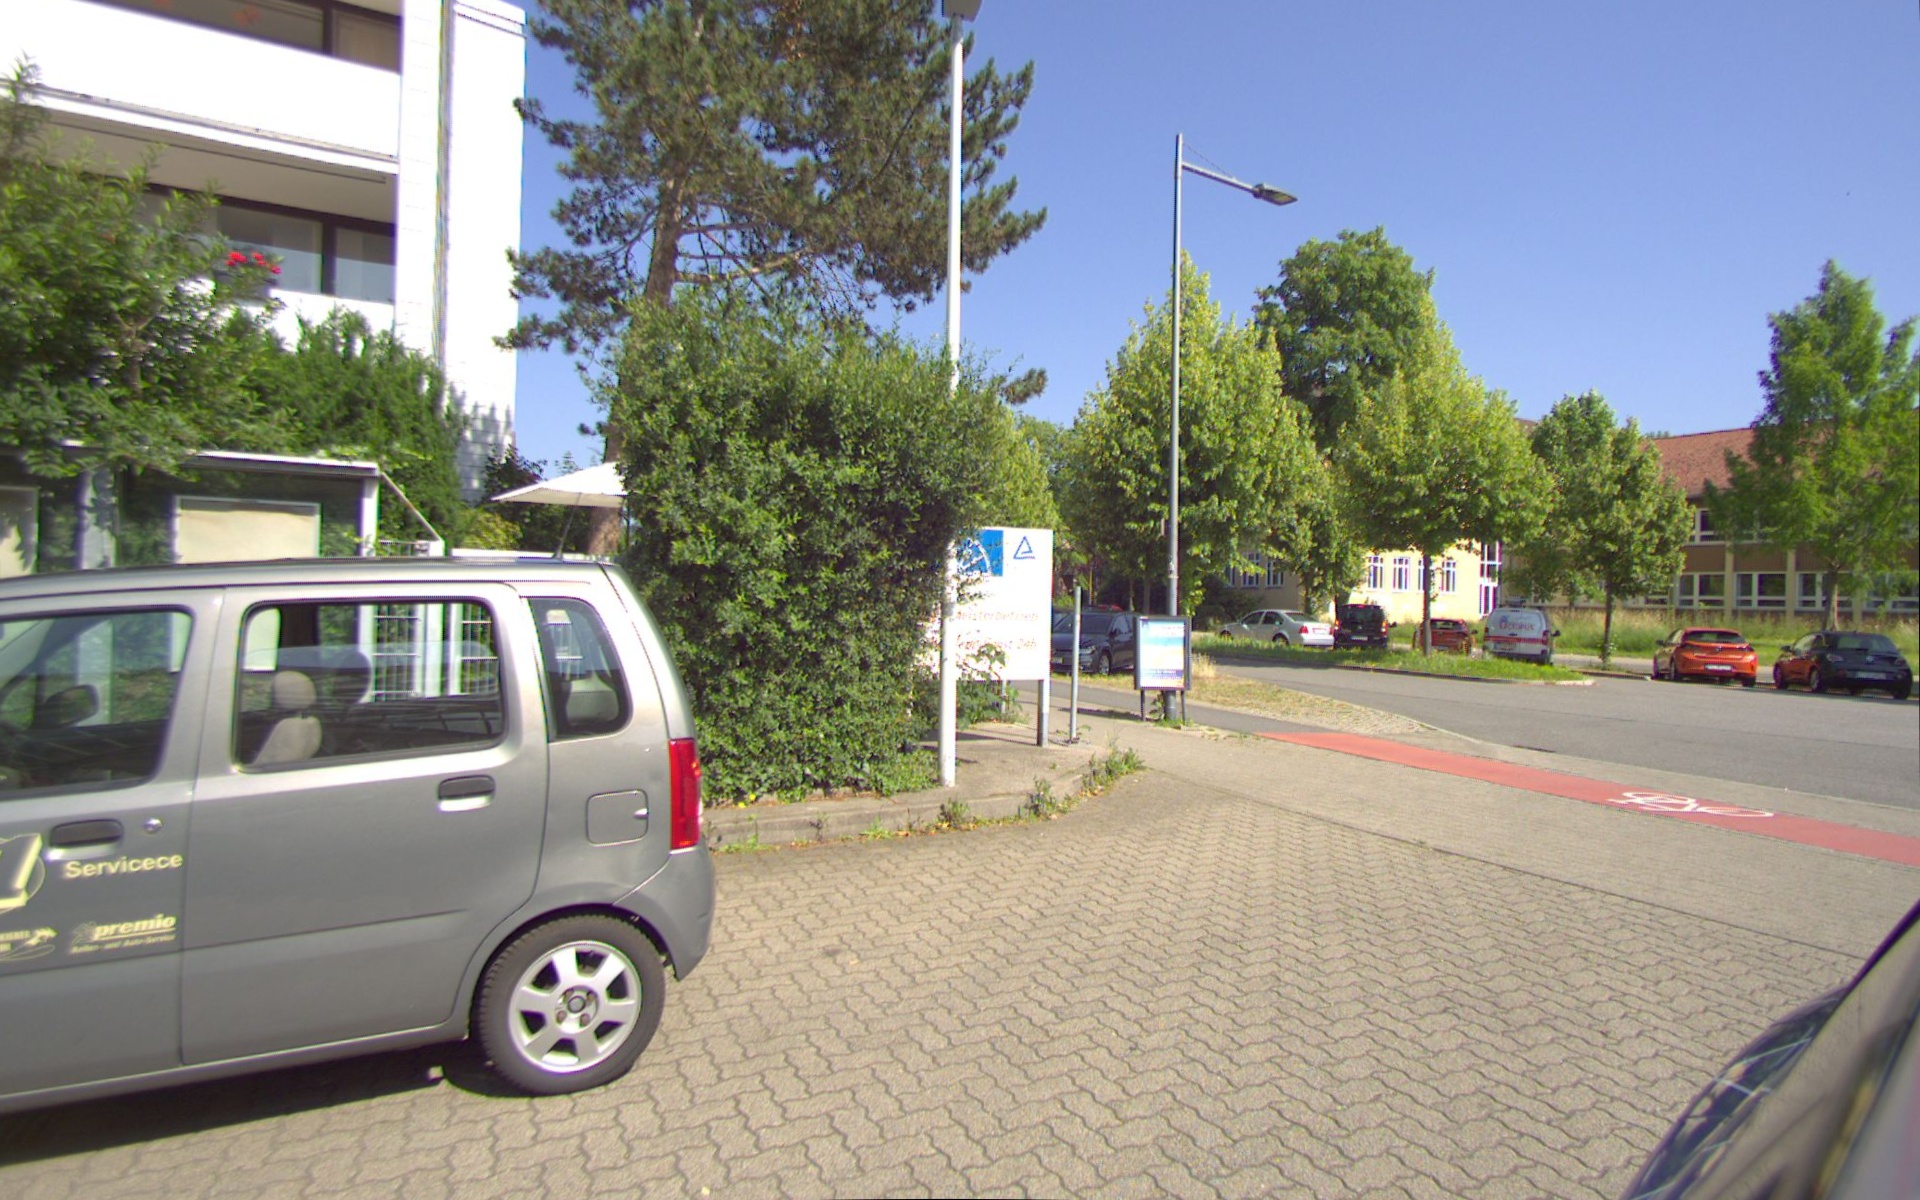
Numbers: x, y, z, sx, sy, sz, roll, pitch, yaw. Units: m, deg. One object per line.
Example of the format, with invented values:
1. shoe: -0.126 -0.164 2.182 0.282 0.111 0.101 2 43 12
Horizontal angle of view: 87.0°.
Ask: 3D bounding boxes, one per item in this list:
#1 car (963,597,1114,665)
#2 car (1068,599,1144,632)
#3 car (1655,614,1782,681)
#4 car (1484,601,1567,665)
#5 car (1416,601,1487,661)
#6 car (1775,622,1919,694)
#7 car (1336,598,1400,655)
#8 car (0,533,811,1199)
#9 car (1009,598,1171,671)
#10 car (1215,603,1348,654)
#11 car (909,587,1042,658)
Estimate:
1. car: 2.074 0.791 25.631 1.870 1.500 4.170 2 -1 36
2. car: 7.273 0.779 50.276 1.876 1.408 3.666 3 -1 44
3. car: 19.605 1.192 26.350 1.863 1.478 4.185 3 0 27
4. car: 17.300 1.004 30.849 1.869 1.744 4.174 3 0 33
5. car: 16.069 1.018 33.255 1.861 1.744 4.191 3 -1 24
6. car: 20.927 1.314 23.886 1.725 1.478 4.185 2 -1 27
7. car: 14.252 0.923 35.245 1.861 1.744 4.191 3 -1 24
8. car: -2.471 0.642 3.349 3.586 1.637 1.695 0 1 -25
9. car: 3.055 0.794 23.039 1.870 1.435 4.170 2 -1 36
10. car: 10.501 0.893 33.362 1.705 1.502 4.165 2 0 -28
11. car: 0.532 0.605 27.790 1.691 1.742 4.355 2 0 30
